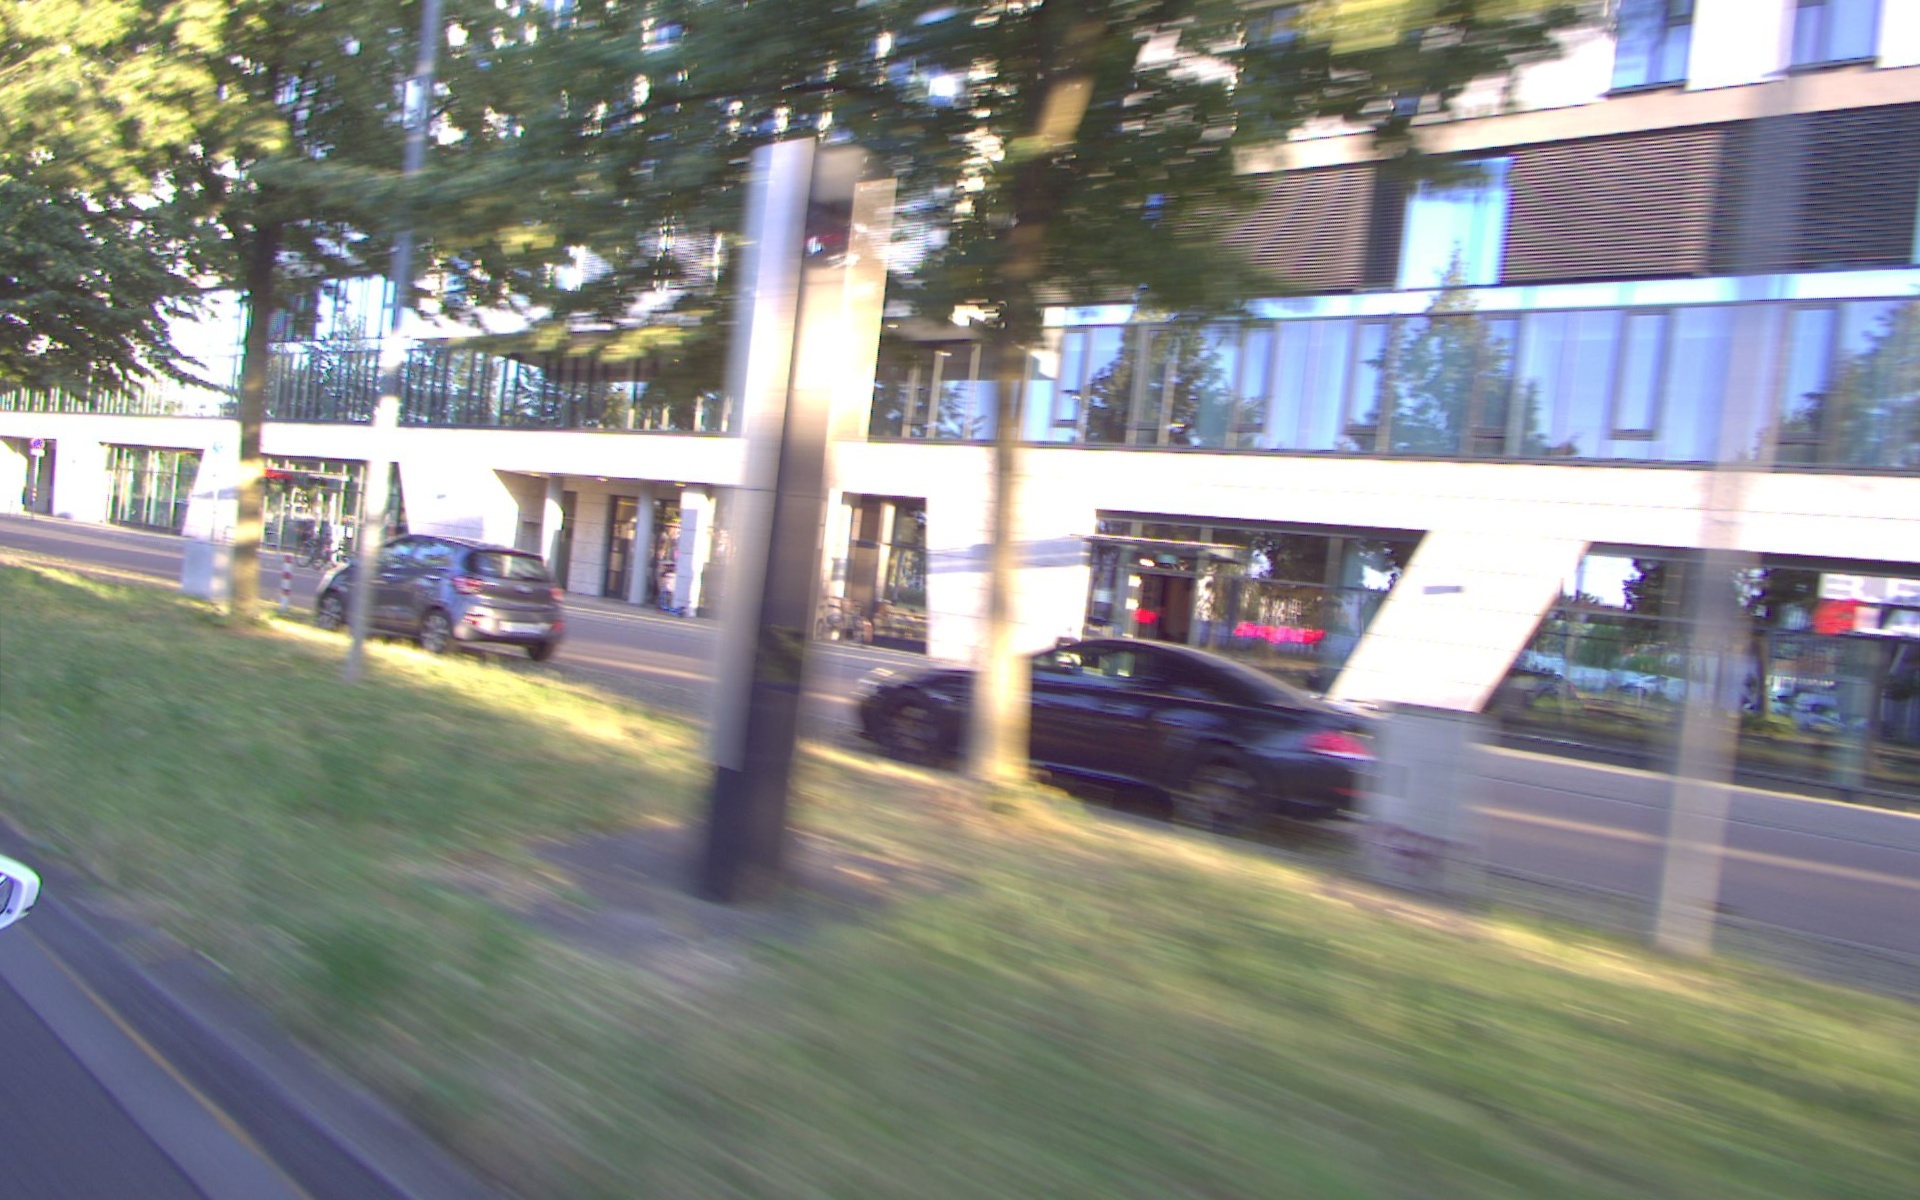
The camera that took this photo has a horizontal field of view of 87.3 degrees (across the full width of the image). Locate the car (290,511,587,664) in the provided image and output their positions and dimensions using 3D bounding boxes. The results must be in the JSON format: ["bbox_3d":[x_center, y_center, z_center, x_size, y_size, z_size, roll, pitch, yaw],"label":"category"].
[{"bbox_3d":[-7.092,-0.186,13.640,3.695,1.533,1.714,7,-2,30],"label":"car"}]

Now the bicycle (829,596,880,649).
[{"bbox_3d":[-2.351,0.485,22.327,0.450,1.041,1.381,6,1,-33],"label":"bicycle"}]

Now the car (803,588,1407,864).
[{"bbox_3d":[1.163,0.925,8.766,4.751,1.383,1.857,7,-1,29],"label":"car"}]

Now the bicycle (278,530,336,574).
[{"bbox_3d":[-18.550,-1.369,28.566,1.861,1.052,0.595,7,1,32],"label":"bicycle"}]

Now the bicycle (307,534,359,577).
[{"bbox_3d":[-18.039,-1.290,28.917,1.777,1.052,0.471,7,1,32],"label":"bicycle"}]

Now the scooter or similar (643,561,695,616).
[{"bbox_3d":[-7.336,-0.290,25.362,1.208,1.227,0.472,7,1,32],"label":"scooter or similar"}]
